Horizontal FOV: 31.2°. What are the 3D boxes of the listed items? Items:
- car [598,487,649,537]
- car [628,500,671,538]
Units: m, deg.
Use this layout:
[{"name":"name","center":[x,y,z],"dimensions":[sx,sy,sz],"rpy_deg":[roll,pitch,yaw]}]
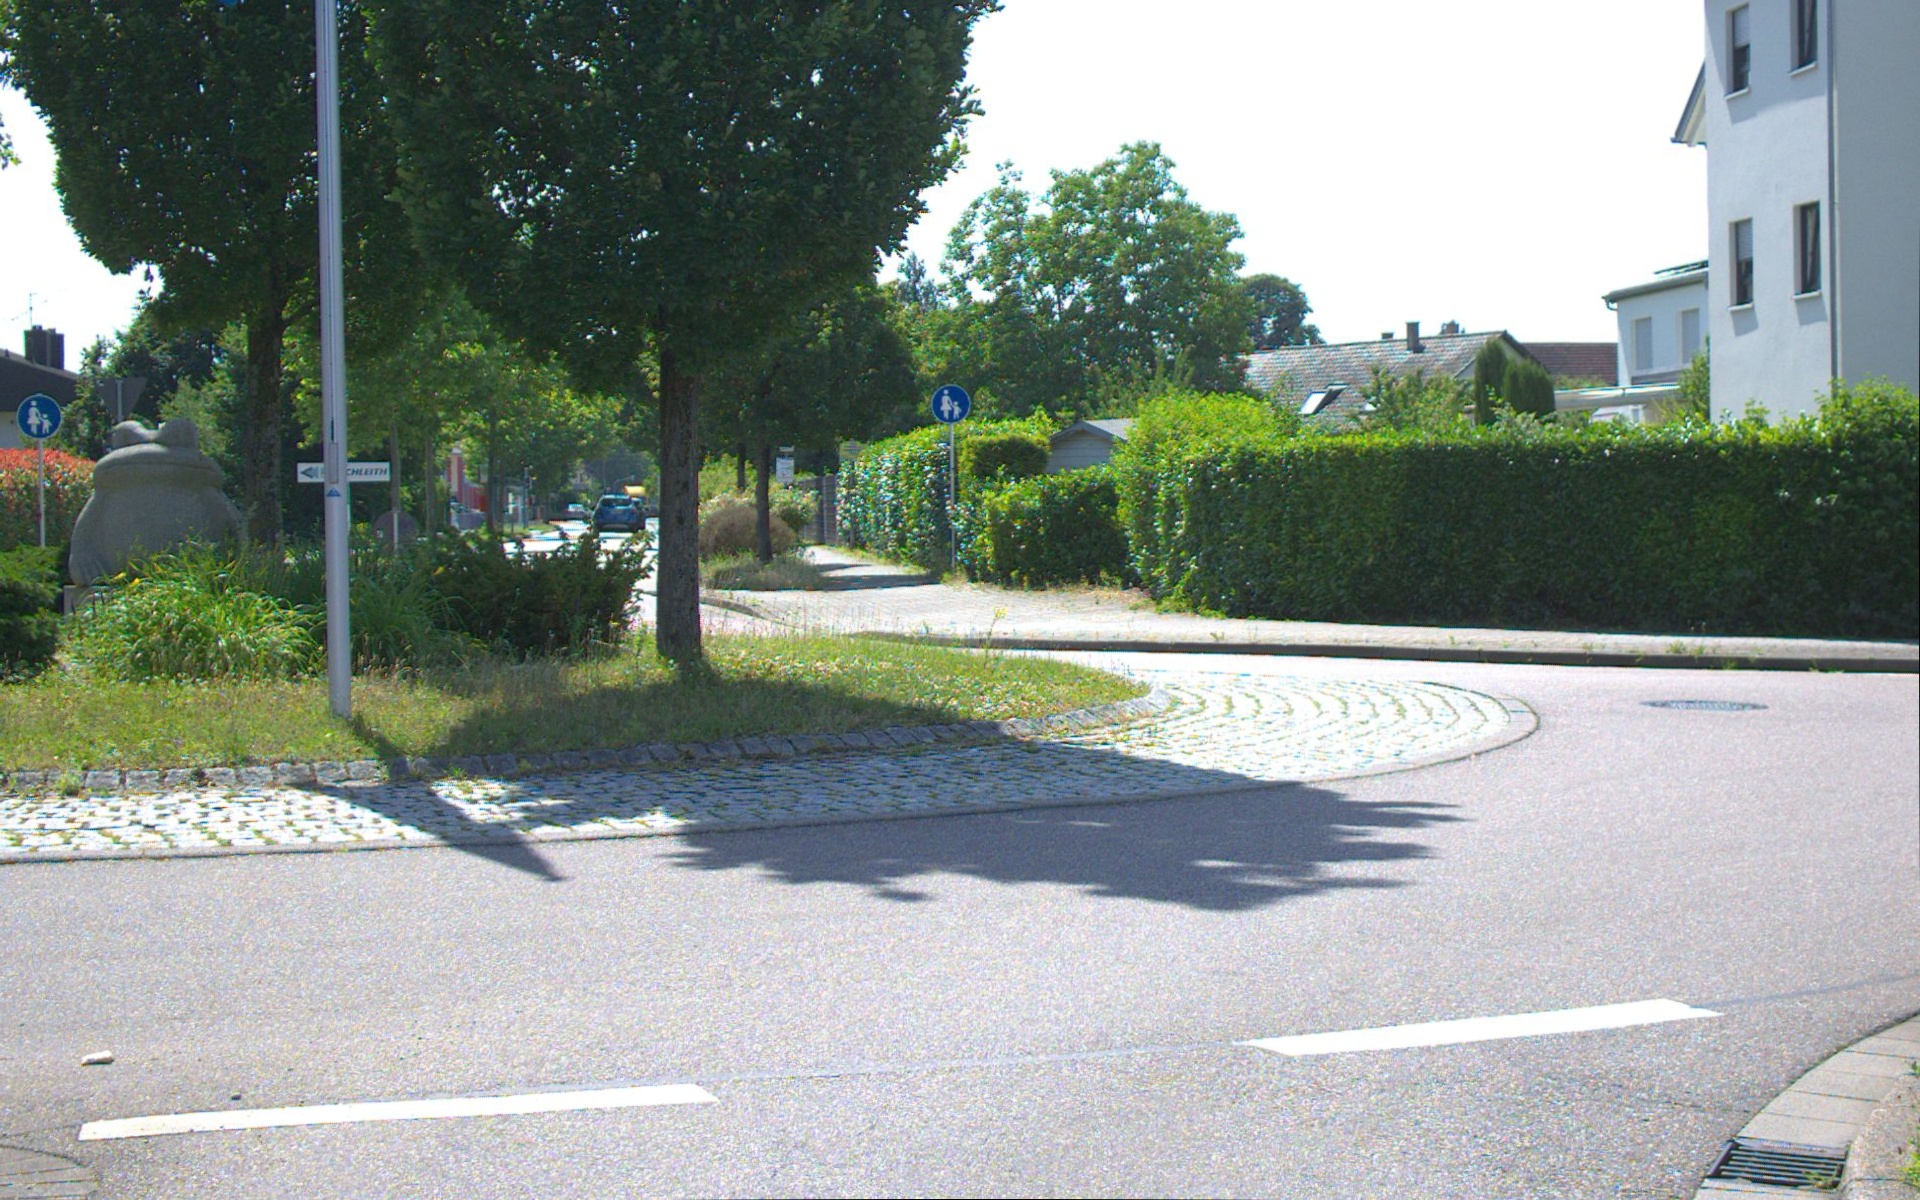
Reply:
[{"name":"car","center":[-13.035,-3.394,133.471],"dimensions":[1.922,1.879,4.001],"rpy_deg":[0,1,-5]},{"name":"car","center":[-14.857,-3.859,164.712],"dimensions":[1.993,1.764,4.001],"rpy_deg":[0,1,-4]}]
